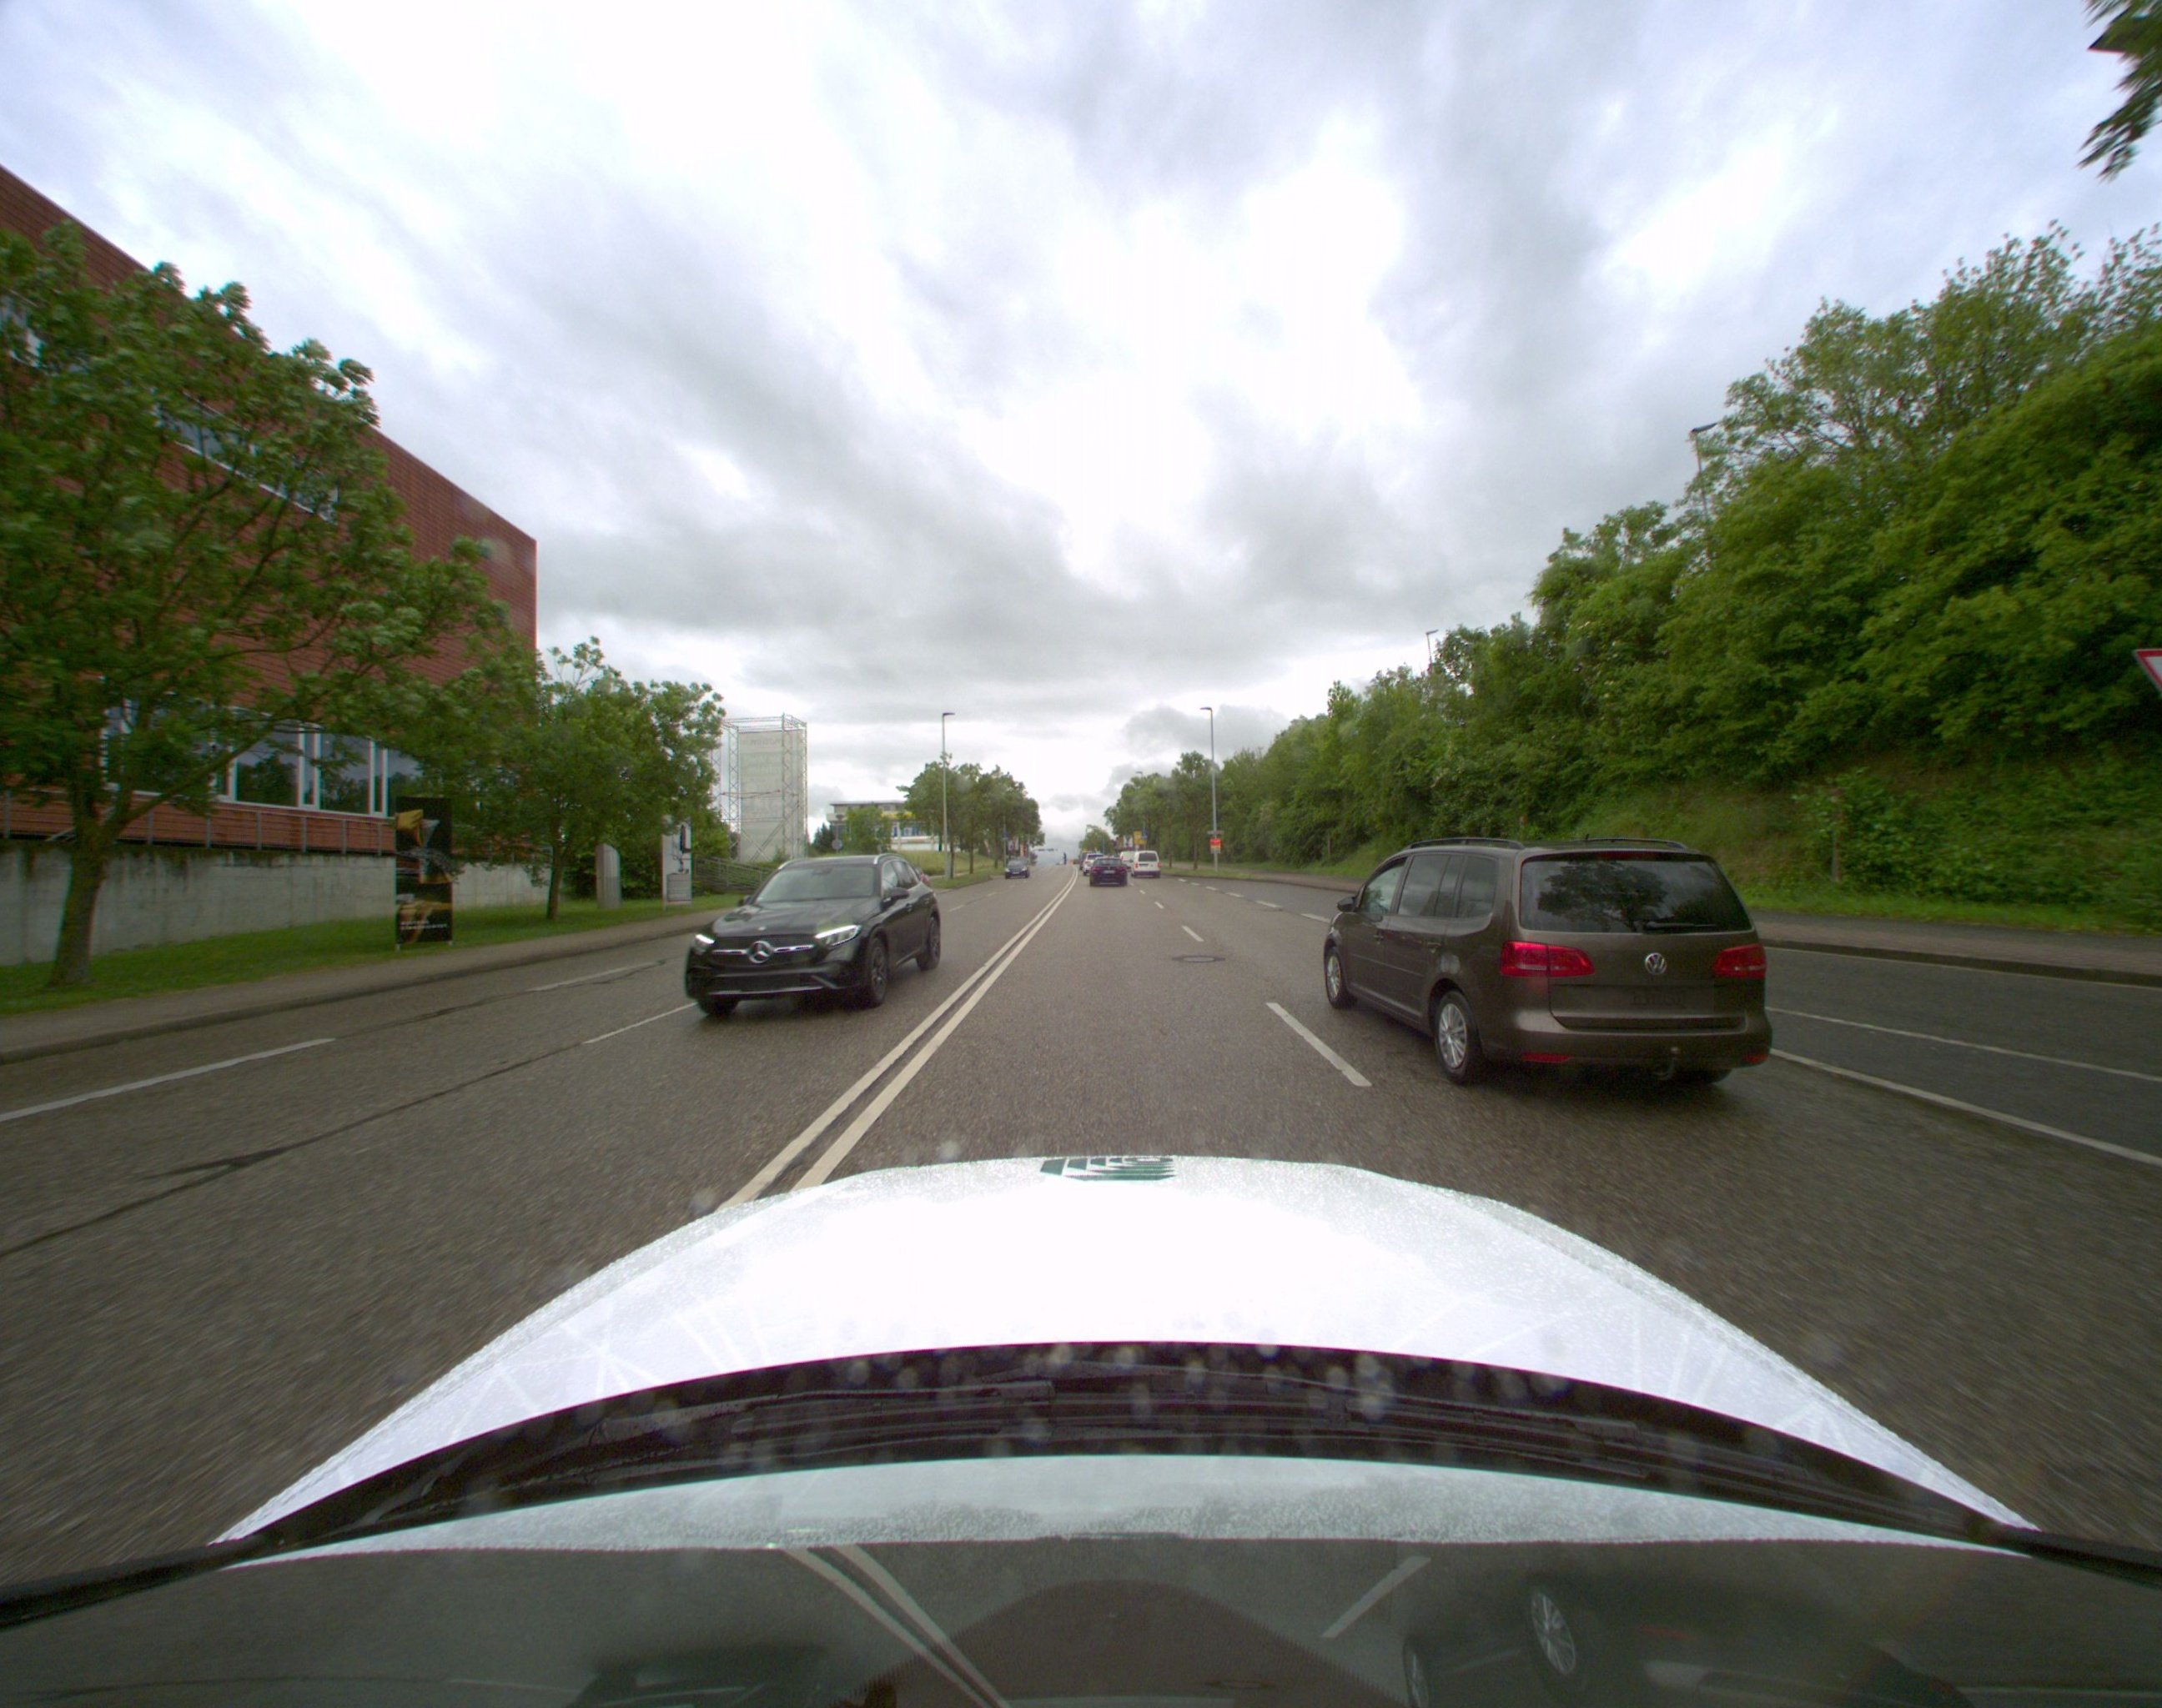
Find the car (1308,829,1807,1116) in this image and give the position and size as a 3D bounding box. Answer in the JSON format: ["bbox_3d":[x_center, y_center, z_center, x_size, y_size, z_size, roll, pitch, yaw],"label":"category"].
[{"bbox_3d":[3.268,0.680,6.668,1.708,1.596,4.131,-1,0,1],"label":"car"}]

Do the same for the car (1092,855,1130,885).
[{"bbox_3d":[1.495,0.791,41.237,1.848,1.419,3.957,0,0,1],"label":"car"}]

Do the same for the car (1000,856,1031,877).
[{"bbox_3d":[-5.091,0.979,63.424,1.729,1.454,4.005,-4,0,4],"label":"car"}]

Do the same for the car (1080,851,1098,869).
[{"bbox_3d":[0.792,0.625,82.232,1.752,1.708,3.946,-2,0,0],"label":"car"}]

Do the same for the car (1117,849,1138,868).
[{"bbox_3d":[4.387,0.382,77.239,1.808,1.708,3.946,-2,0,0],"label":"car"}]

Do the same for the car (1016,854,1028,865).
[{"bbox_3d":[-9.142,0.907,126.474,1.721,1.668,4.485,0,0,-1],"label":"car"}]

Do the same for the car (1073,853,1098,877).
[{"bbox_3d":[0.375,0.796,61.149,1.722,1.711,3.384,-1,0,2],"label":"car"}]

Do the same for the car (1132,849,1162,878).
[{"bbox_3d":[4.381,0.605,54.770,1.735,1.869,3.946,0,0,0],"label":"car"}]

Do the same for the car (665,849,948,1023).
[{"bbox_3d":[-3.012,0.791,10.048,1.852,1.577,4.322,-3,0,1],"label":"car"}]

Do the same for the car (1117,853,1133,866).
[{"bbox_3d":[4.970,0.659,92.335,1.595,1.372,3.679,-2,0,0],"label":"car"}]
